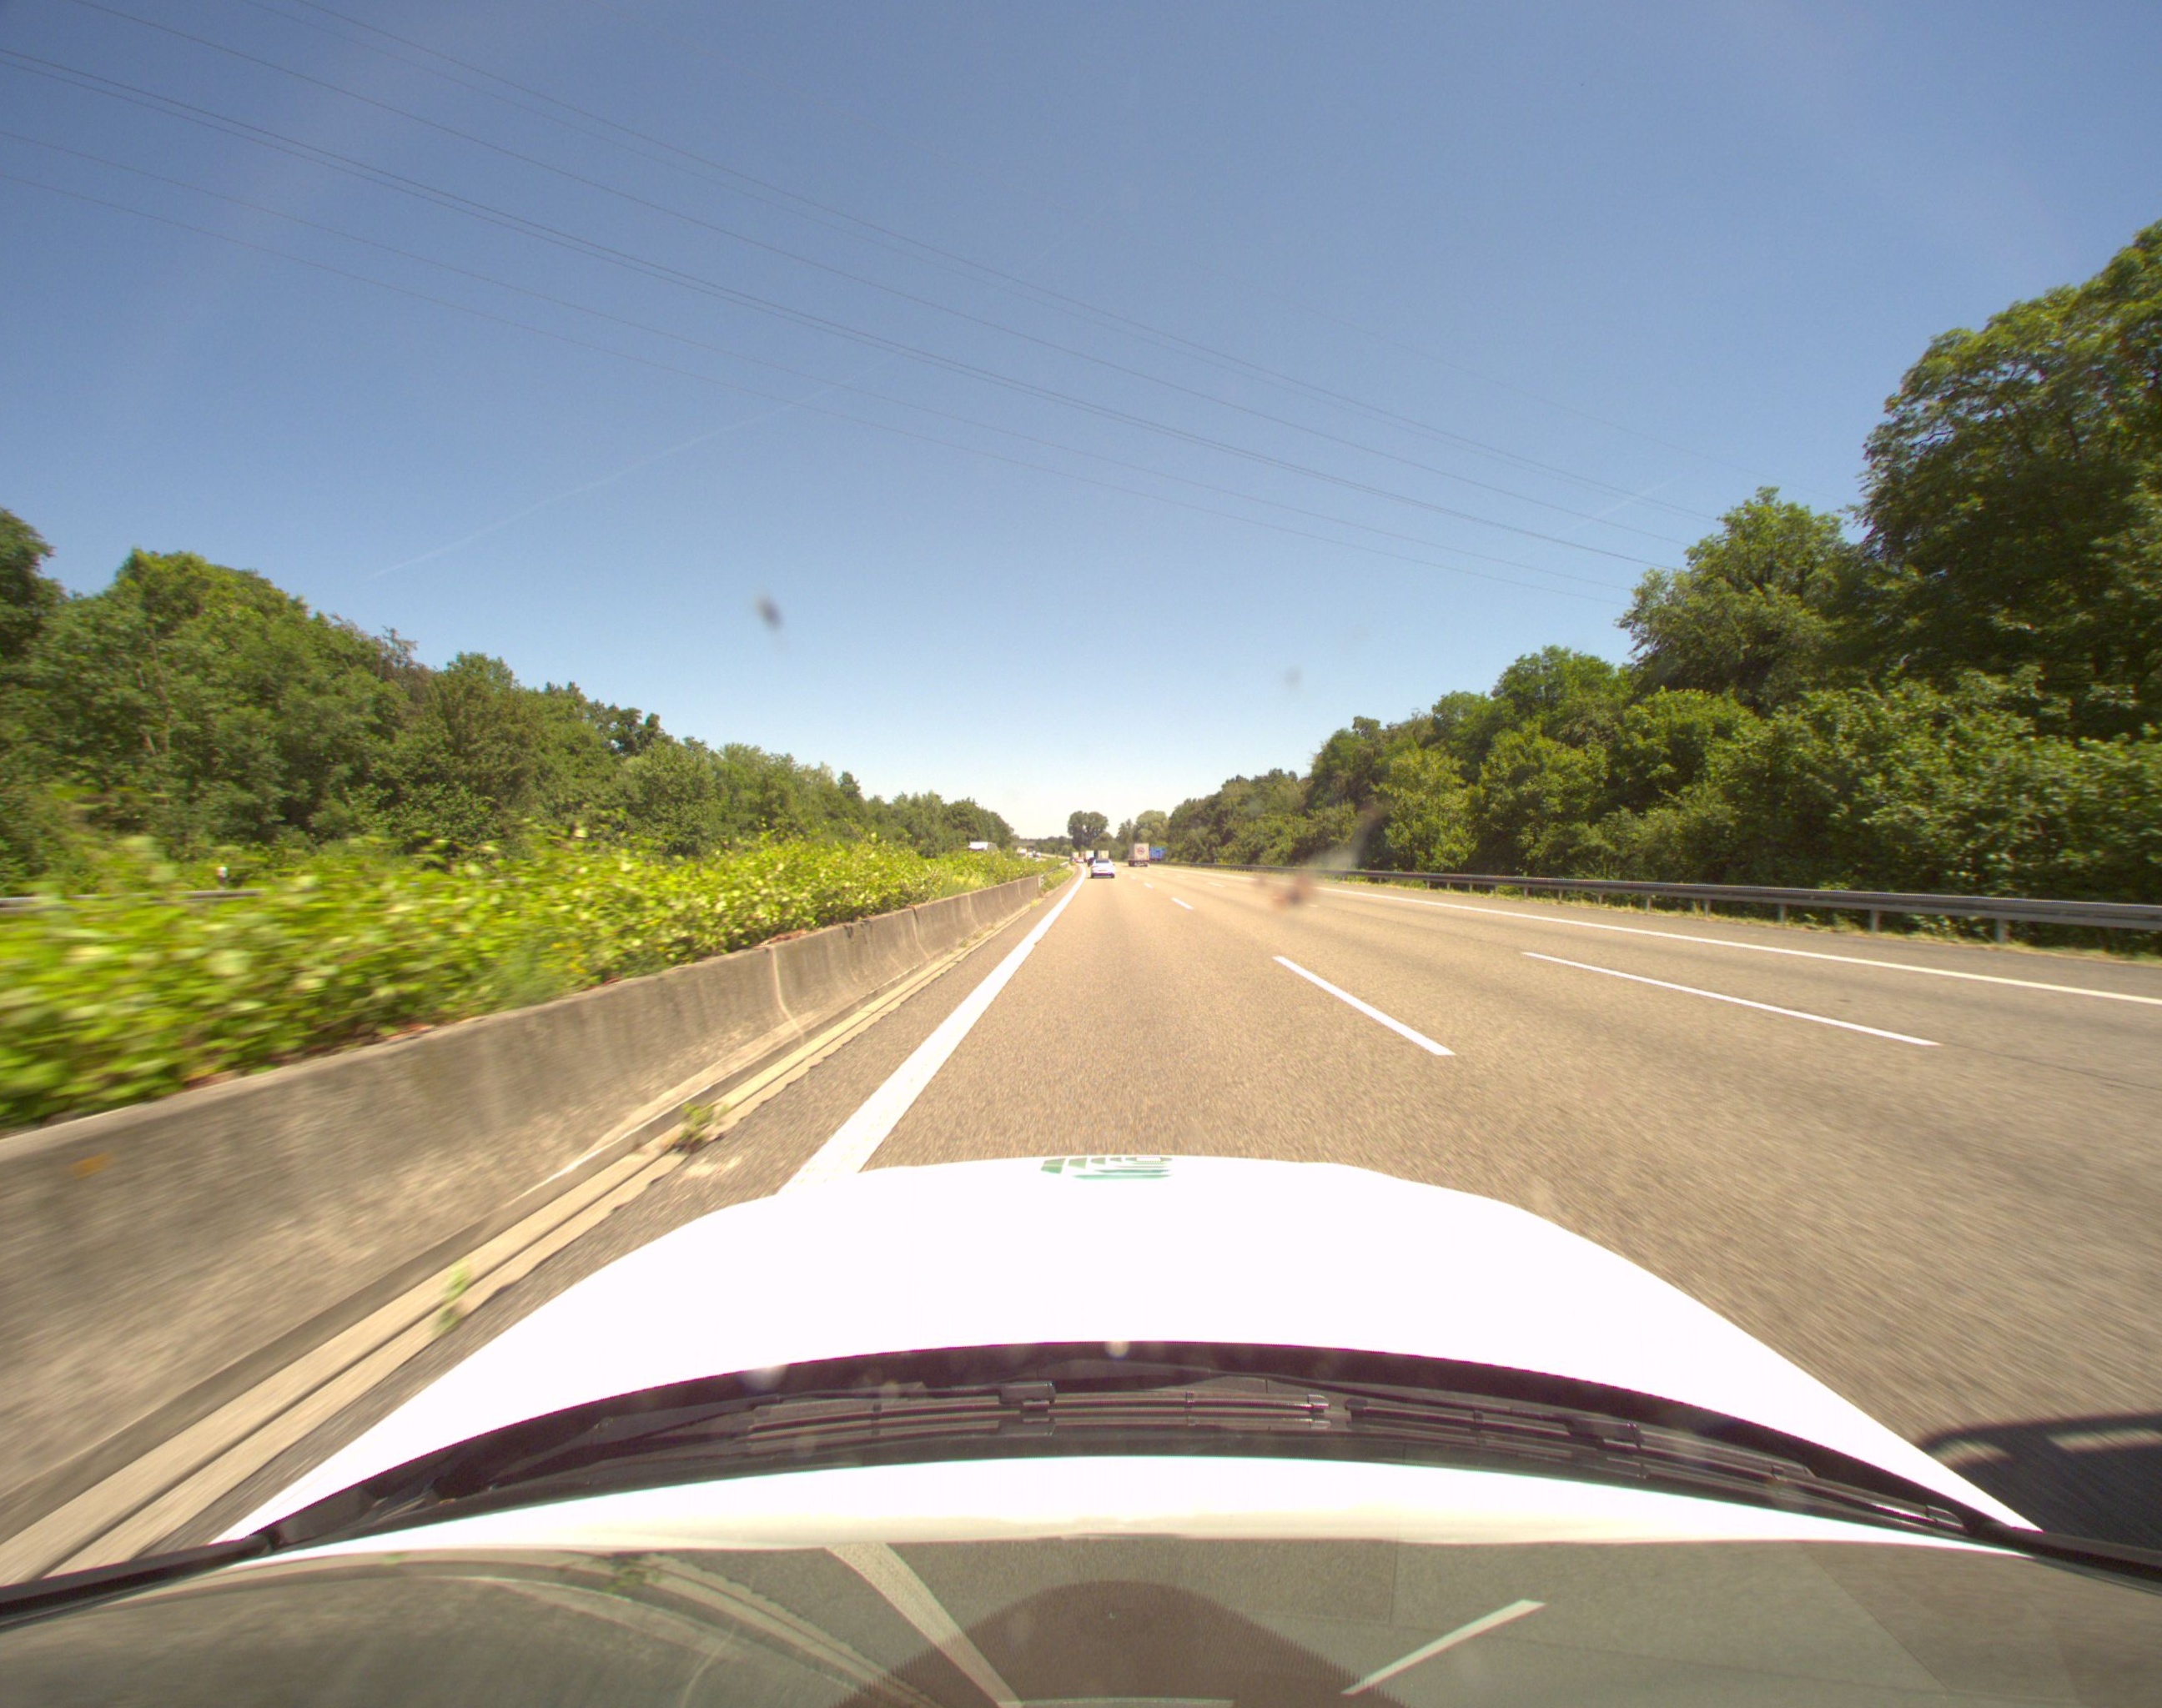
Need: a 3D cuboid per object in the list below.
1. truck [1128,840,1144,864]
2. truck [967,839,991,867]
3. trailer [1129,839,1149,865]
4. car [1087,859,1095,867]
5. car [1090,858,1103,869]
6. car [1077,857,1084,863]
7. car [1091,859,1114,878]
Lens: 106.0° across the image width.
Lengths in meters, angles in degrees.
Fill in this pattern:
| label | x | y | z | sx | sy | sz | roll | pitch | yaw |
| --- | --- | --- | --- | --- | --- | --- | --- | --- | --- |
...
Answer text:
| label | x | y | z | sx | sy | sz | roll | pitch | yaw |
| --- | --- | --- | --- | --- | --- | --- | --- | --- | --- |
| truck | 10.058 | -0.373 | 149.421 | 2.596 | 4.287 | 5.436 | 0 | 0 | 1 |
| truck | -15.057 | -0.135 | 120.820 | 2.652 | 3.985 | 6.553 | 0 | 0 | 0 |
| trailer | 10.008 | -0.323 | 142.672 | 2.615 | 4.261 | 14.060 | 0 | 0 | 0 |
| car | 2.566 | 2.316 | 209.107 | 1.989 | 2.013 | 3.996 | -1 | 0 | -3 |
| car | 2.717 | 1.701 | 143.568 | 1.988 | 1.772 | 3.997 | -1 | 0 | -2 |
| car | -0.187 | 1.987 | 251.861 | 1.720 | 1.783 | 3.994 | -1 | 0 | -4 |
| car | 1.646 | 1.071 | 62.361 | 1.709 | 1.369 | 3.376 | -1 | 0 | 2 |
